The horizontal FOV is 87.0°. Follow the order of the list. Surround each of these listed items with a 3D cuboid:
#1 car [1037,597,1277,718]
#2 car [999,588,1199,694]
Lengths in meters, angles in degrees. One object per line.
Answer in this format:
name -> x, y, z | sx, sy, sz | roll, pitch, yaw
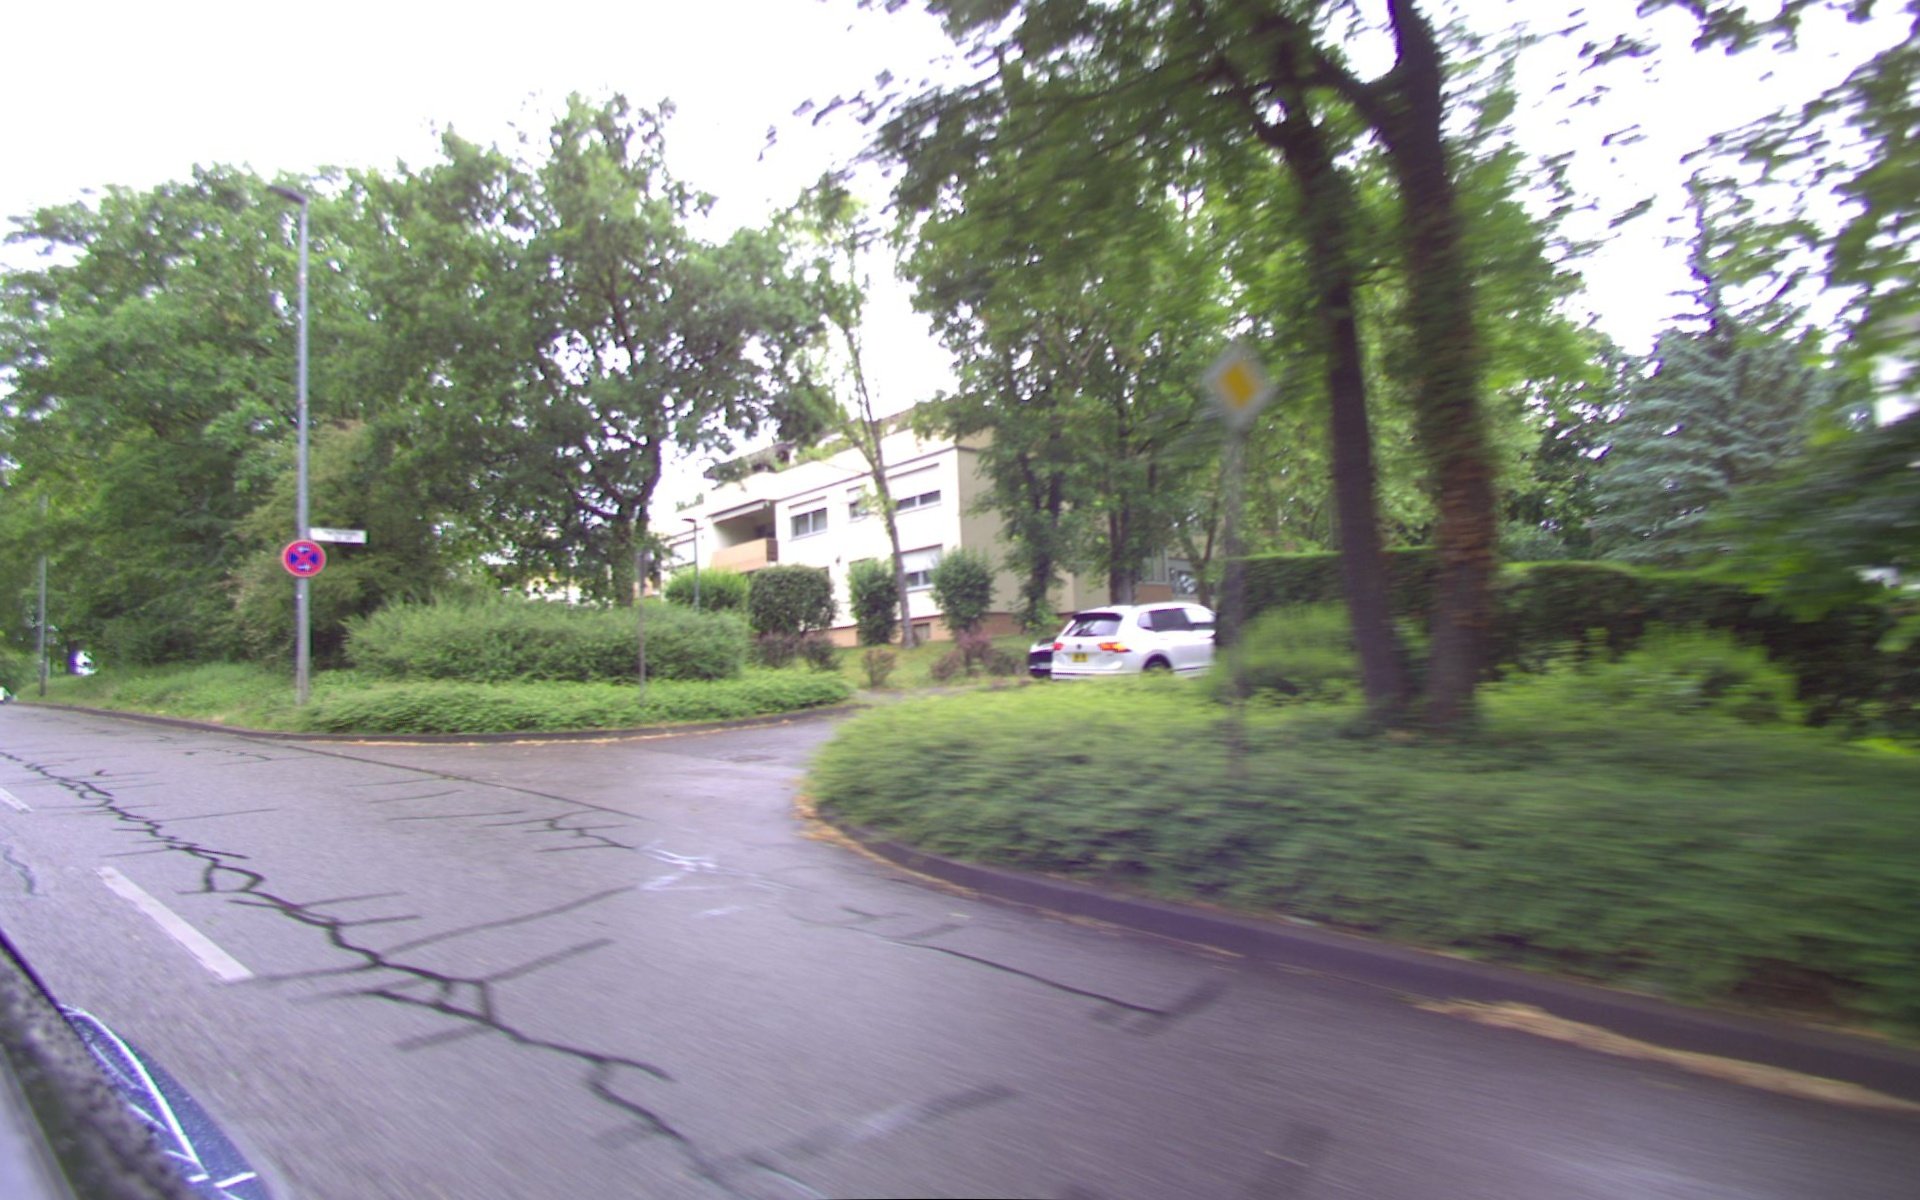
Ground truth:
car -> 3.566, 0.902, 17.992 | 4.134, 1.698, 1.915 | -4, 2, -38
car -> 2.974, 0.835, 21.360 | 3.937, 2.029, 2.003 | 0, -3, -40
